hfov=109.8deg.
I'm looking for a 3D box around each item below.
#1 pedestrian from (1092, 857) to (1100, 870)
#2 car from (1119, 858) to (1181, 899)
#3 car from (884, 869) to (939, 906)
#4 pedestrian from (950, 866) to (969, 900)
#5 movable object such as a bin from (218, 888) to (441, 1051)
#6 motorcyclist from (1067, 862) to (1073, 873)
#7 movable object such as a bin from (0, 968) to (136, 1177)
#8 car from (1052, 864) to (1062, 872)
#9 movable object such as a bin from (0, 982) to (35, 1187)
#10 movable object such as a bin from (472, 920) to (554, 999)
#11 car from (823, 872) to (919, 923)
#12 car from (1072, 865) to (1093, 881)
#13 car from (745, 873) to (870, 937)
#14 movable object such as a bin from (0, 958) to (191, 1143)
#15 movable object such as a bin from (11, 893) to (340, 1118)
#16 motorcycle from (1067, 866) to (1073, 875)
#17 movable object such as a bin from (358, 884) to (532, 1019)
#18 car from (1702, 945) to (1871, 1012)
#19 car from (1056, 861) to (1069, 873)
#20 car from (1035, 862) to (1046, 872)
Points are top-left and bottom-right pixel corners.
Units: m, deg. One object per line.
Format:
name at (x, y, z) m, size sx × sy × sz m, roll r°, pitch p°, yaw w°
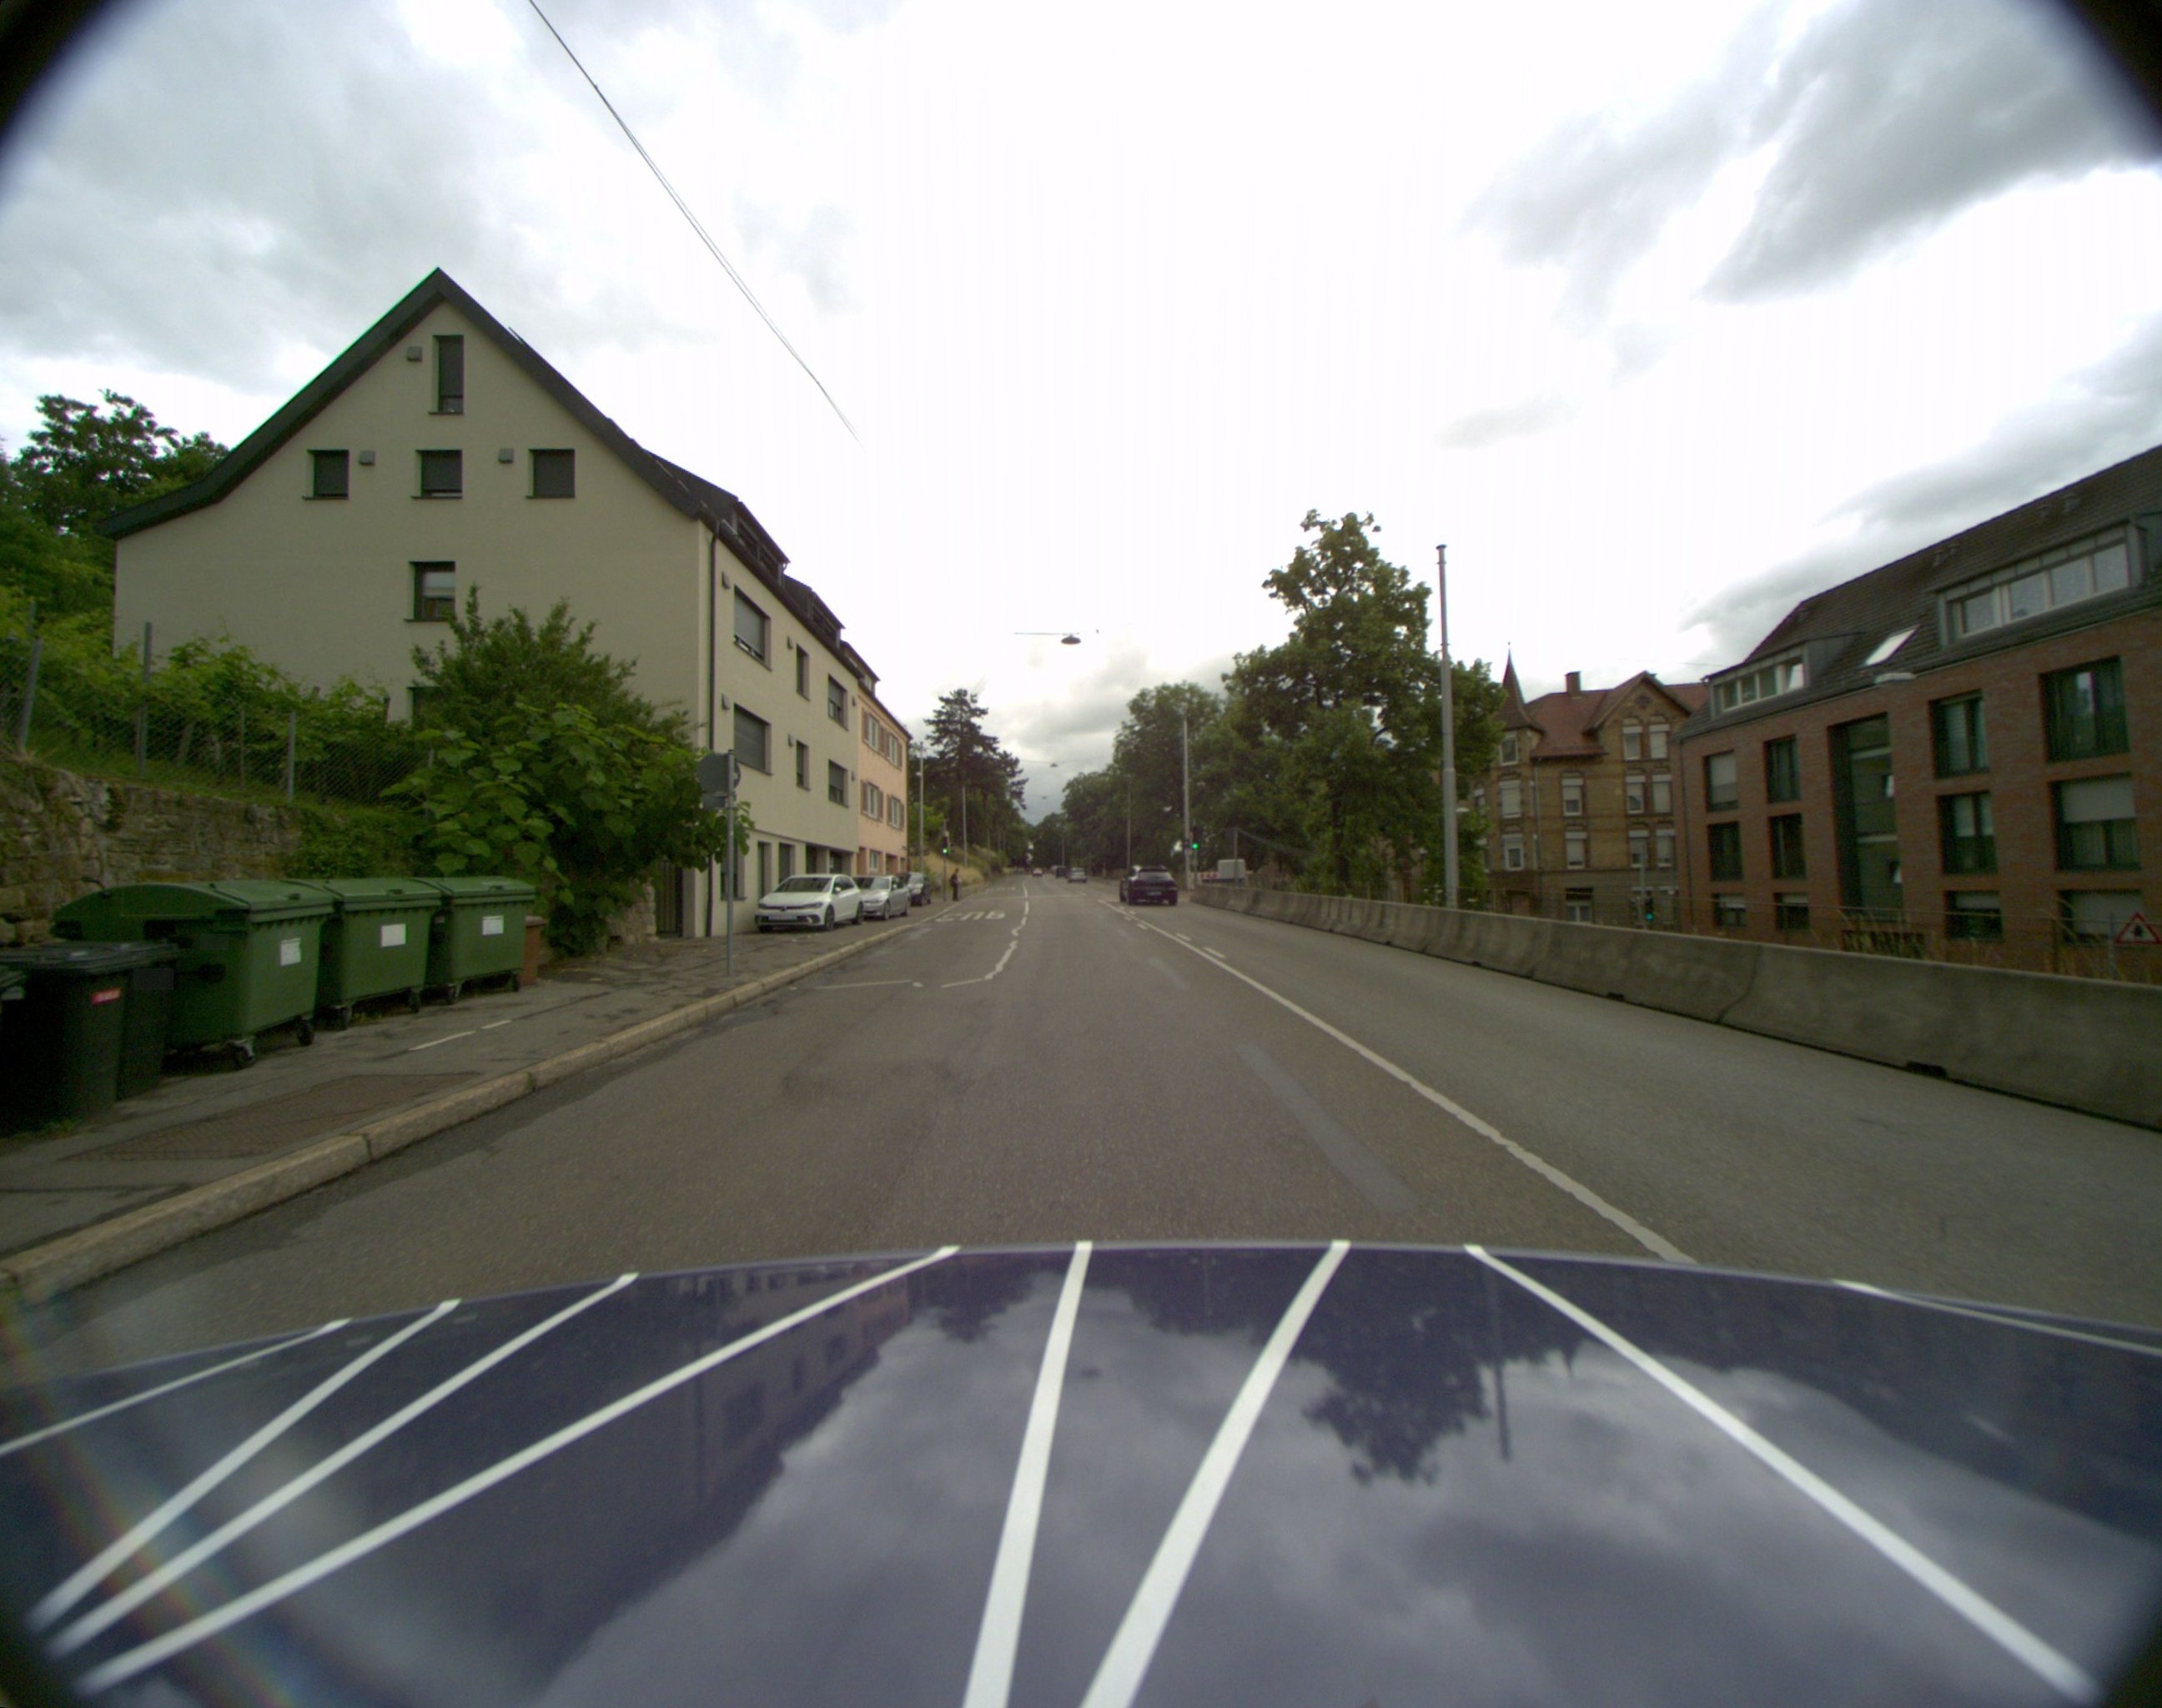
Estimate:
pedestrian at (2.041, 1.294, 103.066) m, size 0.791 × 1.763 × 1.208 m, roll -4°, pitch 0°, yaw -6°
car at (2.807, 1.018, 31.726) m, size 1.987 × 1.565 × 4.375 m, roll 1°, pitch -1°, yaw -3°
car at (-7.470, 1.440, 33.787) m, size 1.686 × 1.442 × 3.999 m, roll 3°, pitch -1°, yaw -3°
pedestrian at (-6.199, 1.485, 38.813) m, size 0.872 × 1.686 × 0.889 m, roll -2°, pitch 0°, yaw -6°
movable object such as a bin at (-7.514, 1.104, 7.693) m, size 1.050 × 1.436 × 1.204 m, roll -1°, pitch 0°, yaw -6°
motorcyclist at (-1.515, 1.884, 105.243) m, size 0.787 × 1.507 × 0.668 m, roll 0°, pitch 0°, yaw -4°
movable object such as a bin at (-6.296, 1.255, 4.409) m, size 0.745 × 1.052 × 0.678 m, roll -1°, pitch 0°, yaw -18°
car at (-4.964, 2.918, 155.182) m, size 1.789 × 1.565 × 4.279 m, roll 0°, pitch -1°, yaw -4°
movable object such as a bin at (-6.016, 1.235, 3.740) m, size 0.745 × 1.052 × 0.678 m, roll -1°, pitch 0°, yaw -18°
movable object such as a bin at (-7.501, 1.379, 10.063) m, size 0.596 × 0.936 × 0.640 m, roll -1°, pitch 0°, yaw -2°
car at (-6.746, 1.356, 24.977) m, size 1.799 × 1.442 × 4.719 m, roll 2°, pitch -1°, yaw 0°
car at (0.115, 1.843, 74.684) m, size 1.725 × 1.436 × 4.157 m, roll -1°, pitch 0°, yaw -4°
car at (-6.987, 1.249, 19.863) m, size 1.799 × 1.414 × 4.005 m, roll 0°, pitch -1°, yaw 0°
movable object such as a bin at (-6.594, 1.266, 5.031) m, size 0.712 × 1.052 × 0.546 m, roll -1°, pitch 0°, yaw -18°
movable object such as a bin at (-6.957, 1.074, 5.990) m, size 1.052 × 1.436 × 1.416 m, roll -1°, pitch 0°, yaw -18°
motorcycle at (-1.506, 2.259, 105.069) m, size 0.787 × 1.138 × 2.056 m, roll 0°, pitch -1°, yaw -4°
movable object such as a bin at (-7.511, 1.111, 9.061) m, size 1.050 × 1.436 × 1.205 m, roll -1°, pitch 0°, yaw -2°
car at (22.163, 3.862, 24.108) m, size 1.798 × 1.501 × 4.002 m, roll 1°, pitch -1°, yaw 3°
car at (-2.851, 2.008, 115.953) m, size 1.789 × 1.735 × 4.427 m, roll 0°, pitch -1°, yaw -5°
car at (-6.931, 2.224, 129.559) m, size 1.789 × 1.565 × 4.279 m, roll 0°, pitch -1°, yaw -4°
